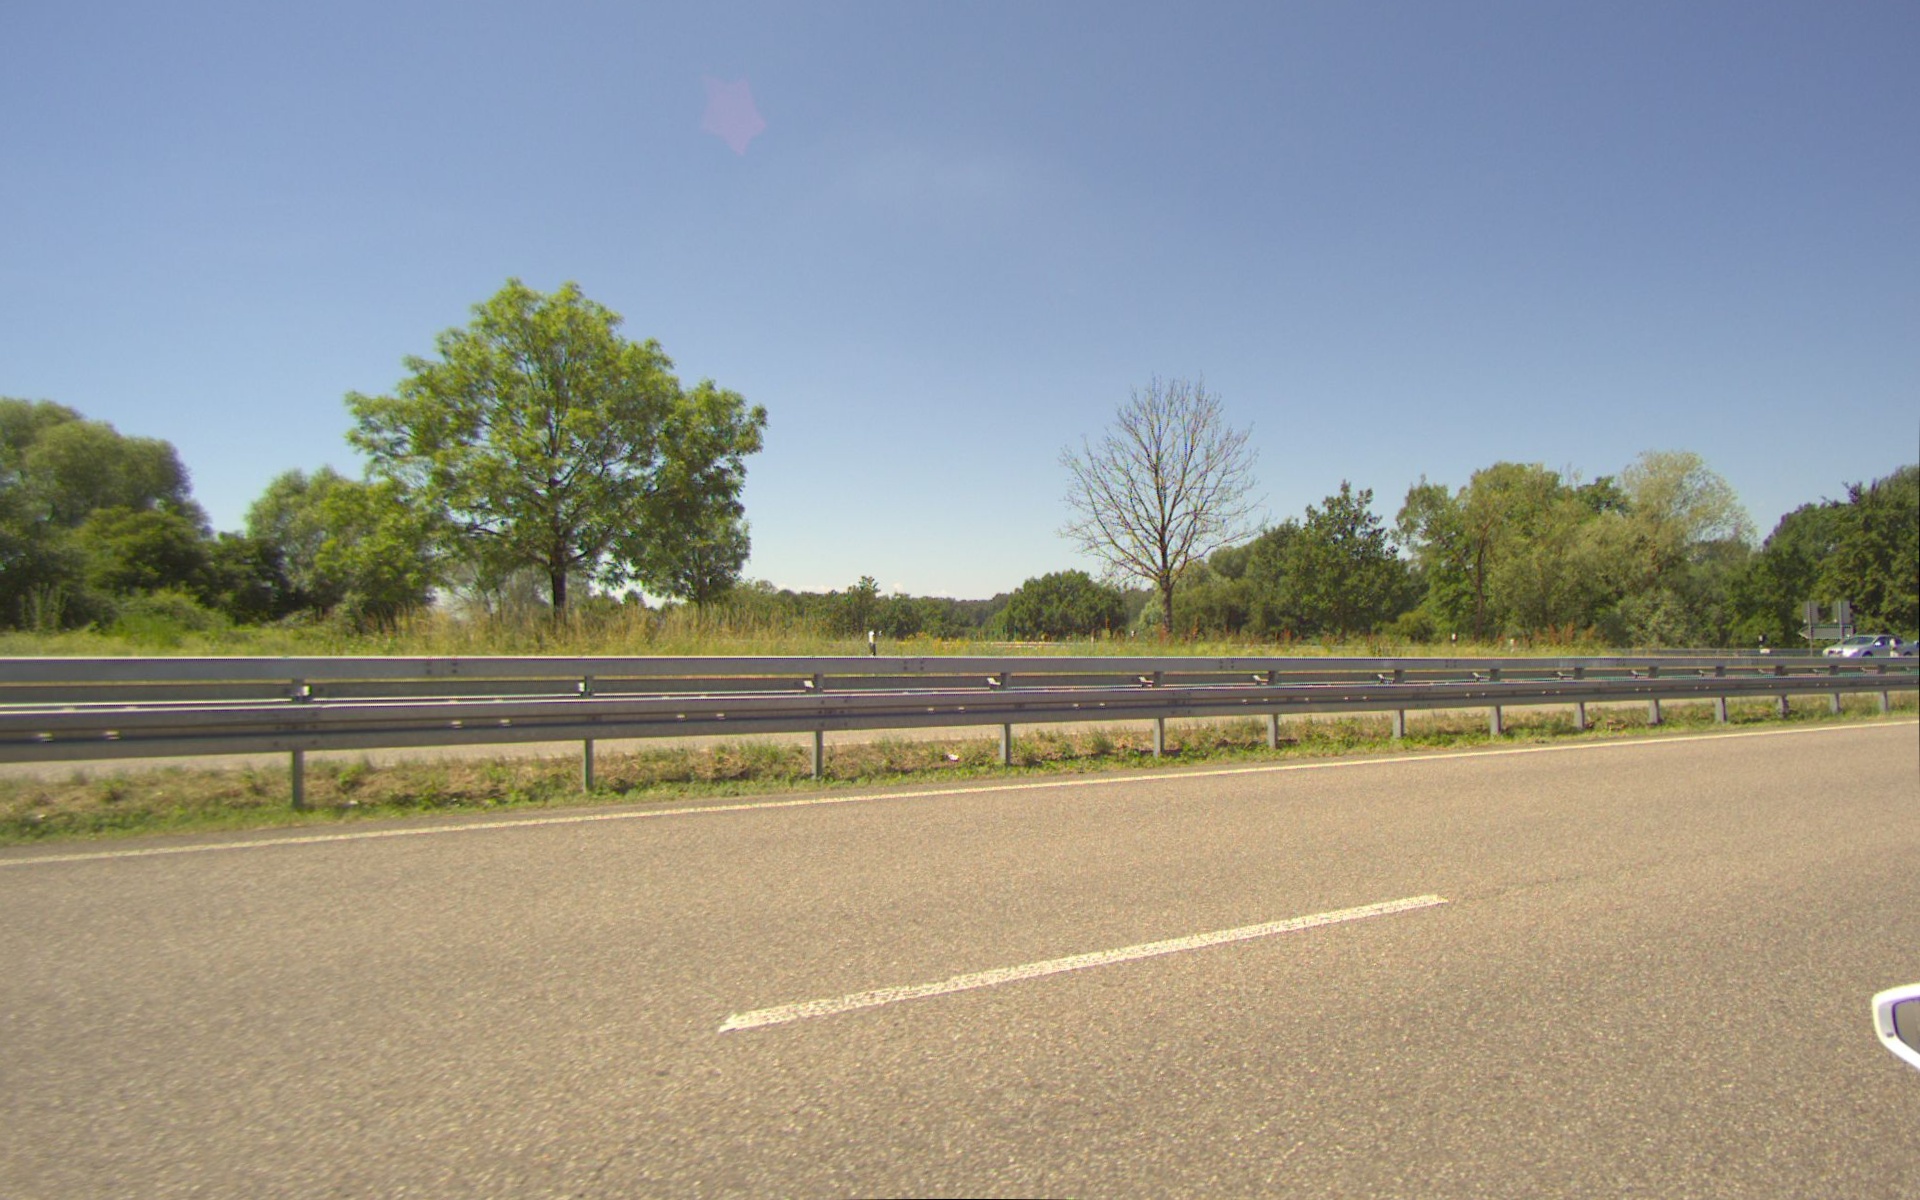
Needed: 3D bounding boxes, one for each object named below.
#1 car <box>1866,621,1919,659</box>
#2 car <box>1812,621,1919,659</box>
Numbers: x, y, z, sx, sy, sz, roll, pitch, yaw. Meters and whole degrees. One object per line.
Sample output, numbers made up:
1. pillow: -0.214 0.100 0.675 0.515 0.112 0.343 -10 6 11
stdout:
1. car: 40.703 1.742 43.020 3.958 1.509 1.907 3 -1 -33
2. car: 44.100 1.935 48.677 4.857 1.667 1.725 1 0 -13
